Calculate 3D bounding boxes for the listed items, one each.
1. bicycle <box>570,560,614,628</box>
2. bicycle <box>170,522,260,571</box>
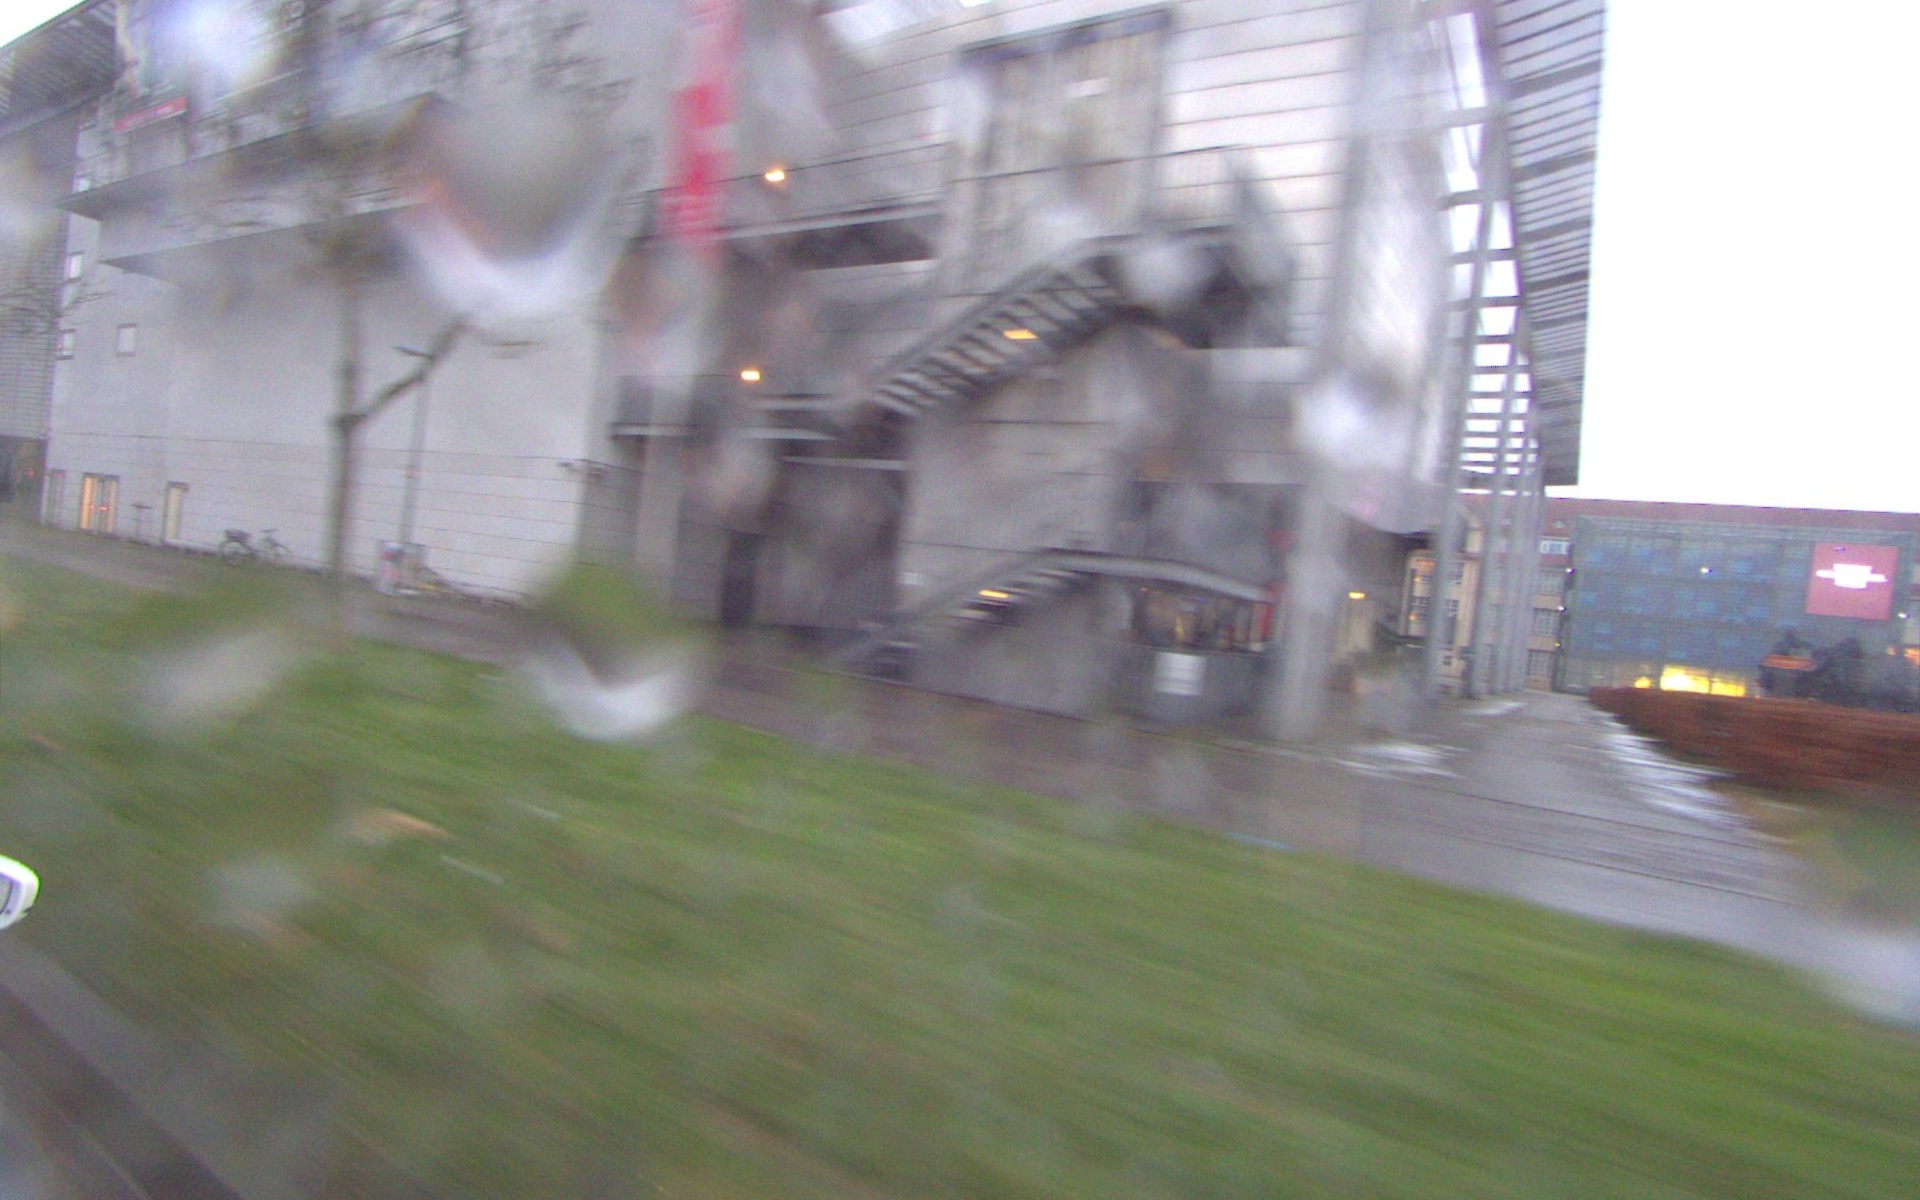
[{"bbox_3d":[-7.705,-0.149,21.004,0.407,1.299,1.730,8,-1,-31],"label":"bicycle"},{"bbox_3d":[-19.241,-1.368,26.027,0.390,1.065,1.811,7,1,30],"label":"bicycle"}]
